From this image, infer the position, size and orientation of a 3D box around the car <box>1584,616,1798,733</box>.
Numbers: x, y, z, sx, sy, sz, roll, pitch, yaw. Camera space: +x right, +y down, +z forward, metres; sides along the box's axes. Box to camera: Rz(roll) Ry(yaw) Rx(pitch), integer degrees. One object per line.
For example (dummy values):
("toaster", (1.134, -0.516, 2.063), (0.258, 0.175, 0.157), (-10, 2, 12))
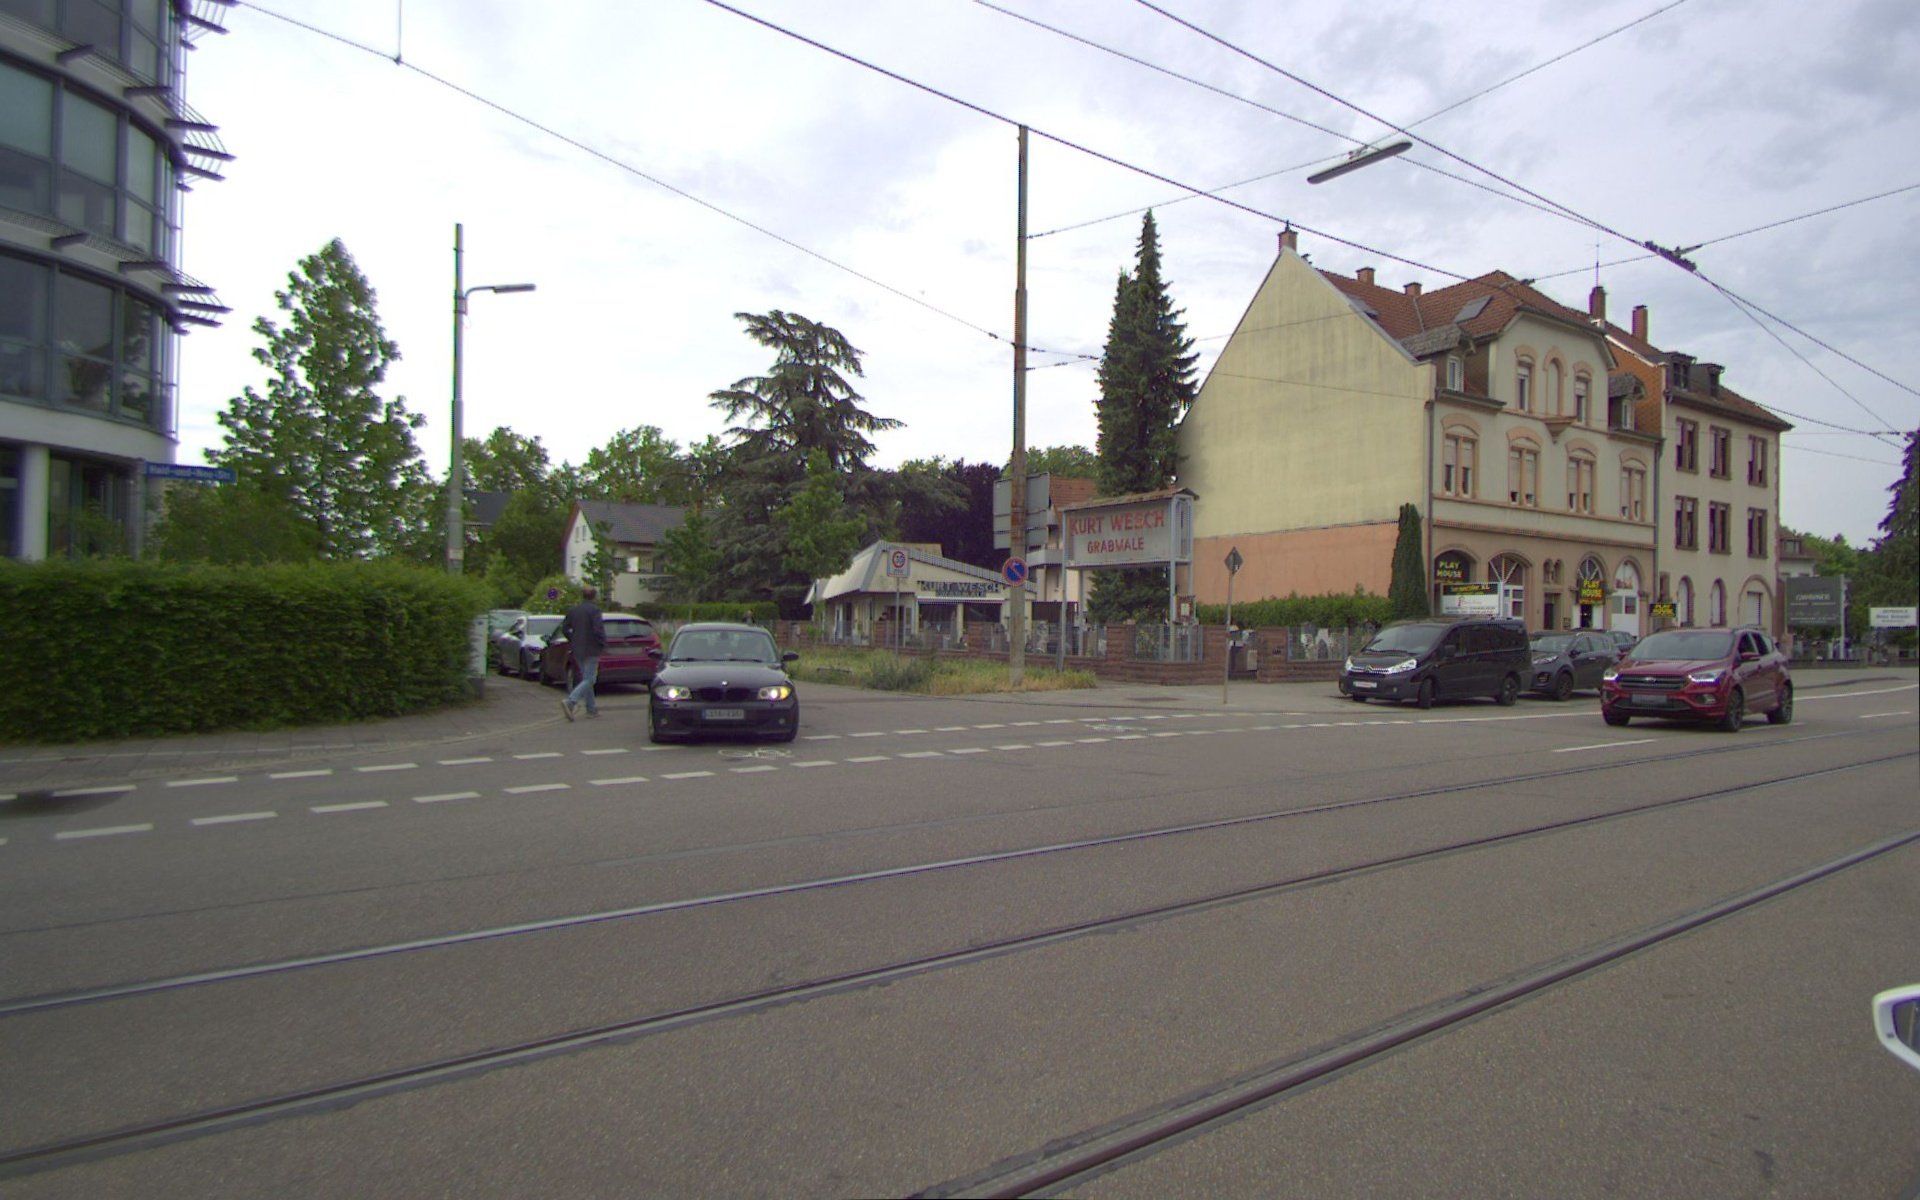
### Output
("car", (12.572, 1.198, 17.188), (4.368, 1.747, 1.828), (2, -2, -38))

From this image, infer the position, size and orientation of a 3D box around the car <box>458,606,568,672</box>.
("car", (-12.402, 1.028, 27.749), (1.981, 1.673, 3.959), (2, -1, -36))

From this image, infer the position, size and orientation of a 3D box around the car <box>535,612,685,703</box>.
("car", (-6.527, 0.955, 18.493), (1.707, 1.441, 3.983), (-1, 0, -33))

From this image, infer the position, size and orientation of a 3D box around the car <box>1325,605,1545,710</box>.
("car", (10.626, 1.236, 22.347), (5.129, 2.040, 1.975), (2, 0, -33))

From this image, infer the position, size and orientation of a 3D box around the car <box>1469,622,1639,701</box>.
("car", (15.324, 1.507, 25.865), (4.488, 1.773, 2.024), (1, 1, -34))

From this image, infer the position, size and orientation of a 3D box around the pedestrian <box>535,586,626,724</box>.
("pedestrian", (-5.335, 0.758, 14.114), (1.047, 1.849, 0.800), (2, 0, -30))

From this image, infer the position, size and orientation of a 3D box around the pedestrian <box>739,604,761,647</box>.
("pedestrian", (-8.842, 1.059, 42.307), (0.752, 1.797, 0.631), (2, 0, -28))

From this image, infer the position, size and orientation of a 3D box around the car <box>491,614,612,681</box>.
("car", (-9.561, 1.052, 23.333), (1.761, 1.367, 4.009), (2, -1, -35))

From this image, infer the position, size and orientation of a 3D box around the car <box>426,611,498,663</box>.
("car", (-17.841, 1.292, 35.890), (1.868, 1.704, 3.802), (2, -1, -33))

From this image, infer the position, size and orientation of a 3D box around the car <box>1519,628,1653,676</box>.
("car", (21.617, 1.781, 34.631), (4.848, 1.512, 1.983), (2, -1, -32))

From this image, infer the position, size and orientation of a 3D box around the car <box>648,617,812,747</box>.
("car", (-3.019, 0.961, 13.217), (1.757, 1.387, 4.102), (2, -1, -13))

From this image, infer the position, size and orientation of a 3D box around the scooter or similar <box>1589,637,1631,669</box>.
("scooter or similar", (24.565, 2.001, 37.977), (0.522, 1.116, 1.166), (2, 1, -35))
